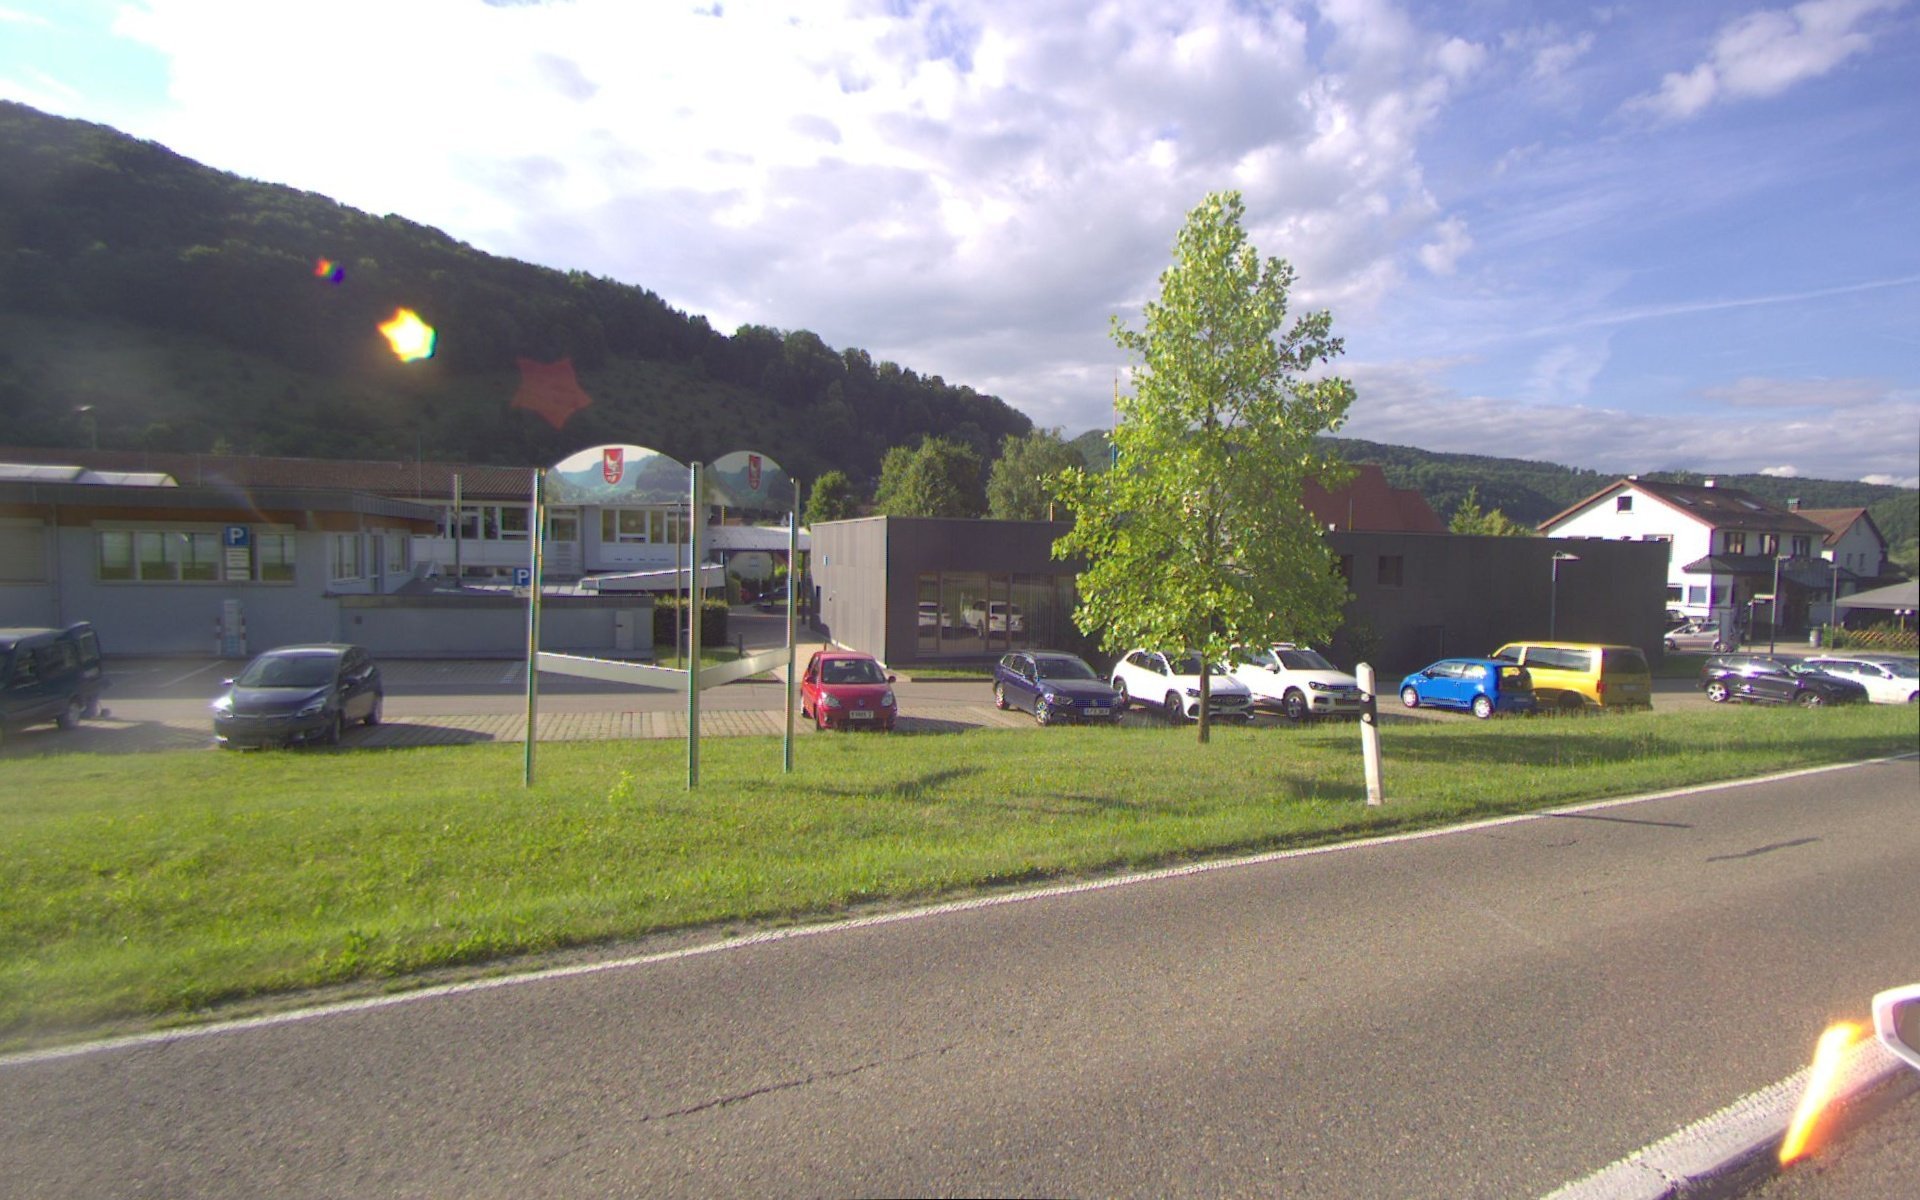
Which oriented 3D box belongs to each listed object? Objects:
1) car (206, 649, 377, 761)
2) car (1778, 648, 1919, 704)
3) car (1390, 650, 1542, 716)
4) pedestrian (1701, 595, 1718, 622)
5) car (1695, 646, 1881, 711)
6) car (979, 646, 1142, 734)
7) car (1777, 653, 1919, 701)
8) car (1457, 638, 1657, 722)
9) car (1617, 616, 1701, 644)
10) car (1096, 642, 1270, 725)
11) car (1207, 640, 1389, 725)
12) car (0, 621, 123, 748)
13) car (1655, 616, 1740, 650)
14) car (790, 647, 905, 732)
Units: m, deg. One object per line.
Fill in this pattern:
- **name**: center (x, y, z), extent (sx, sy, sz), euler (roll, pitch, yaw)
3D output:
- **car**: center (-11.655, 1.742, 17.789), extent (1.660, 1.471, 4.000), euler (-1, 1, -21)
- **car**: center (29.777, 2.442, 32.531), extent (1.852, 1.513, 4.808), euler (2, 0, -19)
- **car**: center (13.652, 2.206, 27.284), extent (1.609, 1.492, 3.487), euler (2, 0, -21)
- **pedestrian**: center (42.958, 0.483, 57.559), extent (0.583, 1.523, 0.605), euler (2, 0, -32)
- **car**: center (25.589, 2.385, 31.221), extent (1.969, 1.659, 4.020), euler (2, 0, -19)
- **car**: center (2.156, 1.979, 23.041), extent (1.969, 1.575, 4.533), euler (2, 0, -19)
- **car**: center (31.077, 2.631, 34.781), extent (1.736, 1.327, 3.977), euler (2, 0, -23)
- **car**: center (16.224, 2.115, 27.616), extent (1.967, 1.893, 4.609), euler (2, 0, -16)
- **car**: center (41.263, 1.772, 59.331), extent (3.926, 1.461, 1.768), euler (2, 0, -8)
- **car**: center (5.189, 1.917, 24.066), extent (1.969, 1.575, 4.533), euler (2, 0, -19)
- **car**: center (8.396, 2.002, 25.438), extent (1.969, 1.725, 4.533), euler (2, 0, -19)
- **car**: center (-16.321, 1.346, 17.066), extent (1.660, 1.817, 4.982), euler (2, 0, -21)
- **car**: center (40.143, 1.788, 54.731), extent (1.727, 1.684, 3.428), euler (2, 0, -42)
- **car**: center (-2.447, 1.811, 21.079), extent (1.591, 1.416, 3.716), euler (2, 0, -19)
